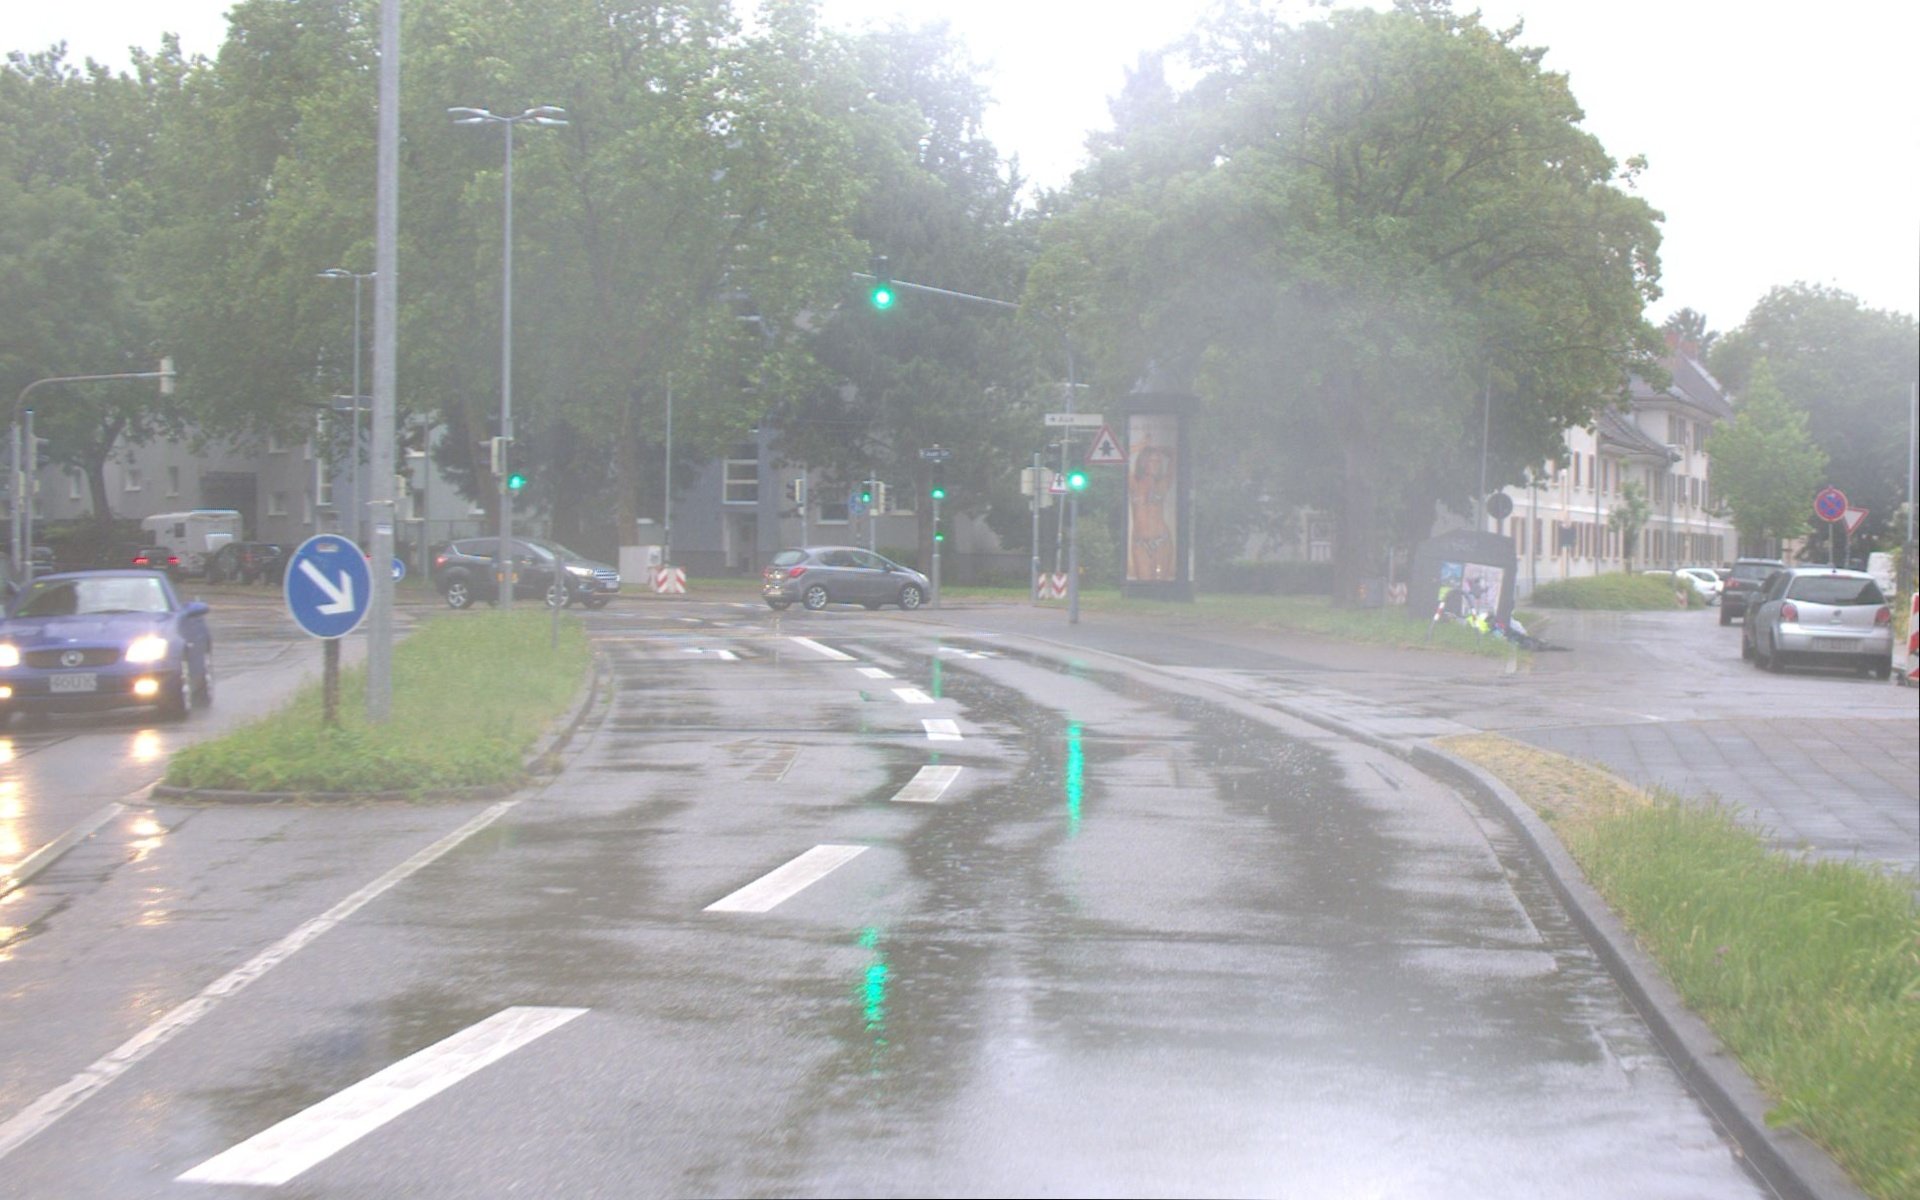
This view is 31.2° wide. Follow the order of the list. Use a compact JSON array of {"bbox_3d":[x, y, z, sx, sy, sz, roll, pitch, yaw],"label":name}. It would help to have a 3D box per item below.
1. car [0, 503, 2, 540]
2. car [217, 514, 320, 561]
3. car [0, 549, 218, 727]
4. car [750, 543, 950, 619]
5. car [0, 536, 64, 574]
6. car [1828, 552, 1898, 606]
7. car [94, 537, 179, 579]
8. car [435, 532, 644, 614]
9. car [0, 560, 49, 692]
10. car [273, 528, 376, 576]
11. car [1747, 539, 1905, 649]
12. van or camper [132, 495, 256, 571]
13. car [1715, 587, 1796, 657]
[{"bbox_3d":[-44.336,-3.511,152.810,1.916,1.615,4.370,1,1,-37],"label":"car"},{"bbox_3d":[-25.001,-2.254,124.235,1.916,1.615,4.453,1,1,-37],"label":"car"},{"bbox_3d":[-7.474,0.286,29.694,1.726,1.388,3.951,-2,1,-8],"label":"car"},{"bbox_3d":[-2.473,-0.417,77.465,4.076,1.597,2.000,1,1,-37],"label":"car"},{"bbox_3d":[-36.830,-1.793,135.471,1.706,1.406,3.644,-2,3,-35],"label":"car"},{"bbox_3d":[38.359,-0.895,145.996,2.352,2.201,4.608,2,1,21],"label":"car"},{"bbox_3d":[-29.501,-1.521,123.098,1.706,1.406,3.644,-2,3,-35],"label":"car"},{"bbox_3d":[-9.601,-0.620,78.652,4.293,1.738,1.999,2,0,13],"label":"car"},{"bbox_3d":[-11.311,0.242,38.608,1.544,1.392,4.195,2,0,-8],"label":"car"},{"bbox_3d":[-19.552,-1.488,105.706,1.706,1.406,3.644,-2,3,-35],"label":"car"},{"bbox_3d":[12.046,-0.100,48.026,1.634,1.428,4.175,2,1,7],"label":"car"},{"bbox_3d":[-29.576,-2.567,132.522,2.319,2.798,6.863,1,0,-34],"label":"van or camper"},{"bbox_3d":[19.825,0.515,85.609,1.855,1.649,4.302,2,1,14],"label":"car"}]
